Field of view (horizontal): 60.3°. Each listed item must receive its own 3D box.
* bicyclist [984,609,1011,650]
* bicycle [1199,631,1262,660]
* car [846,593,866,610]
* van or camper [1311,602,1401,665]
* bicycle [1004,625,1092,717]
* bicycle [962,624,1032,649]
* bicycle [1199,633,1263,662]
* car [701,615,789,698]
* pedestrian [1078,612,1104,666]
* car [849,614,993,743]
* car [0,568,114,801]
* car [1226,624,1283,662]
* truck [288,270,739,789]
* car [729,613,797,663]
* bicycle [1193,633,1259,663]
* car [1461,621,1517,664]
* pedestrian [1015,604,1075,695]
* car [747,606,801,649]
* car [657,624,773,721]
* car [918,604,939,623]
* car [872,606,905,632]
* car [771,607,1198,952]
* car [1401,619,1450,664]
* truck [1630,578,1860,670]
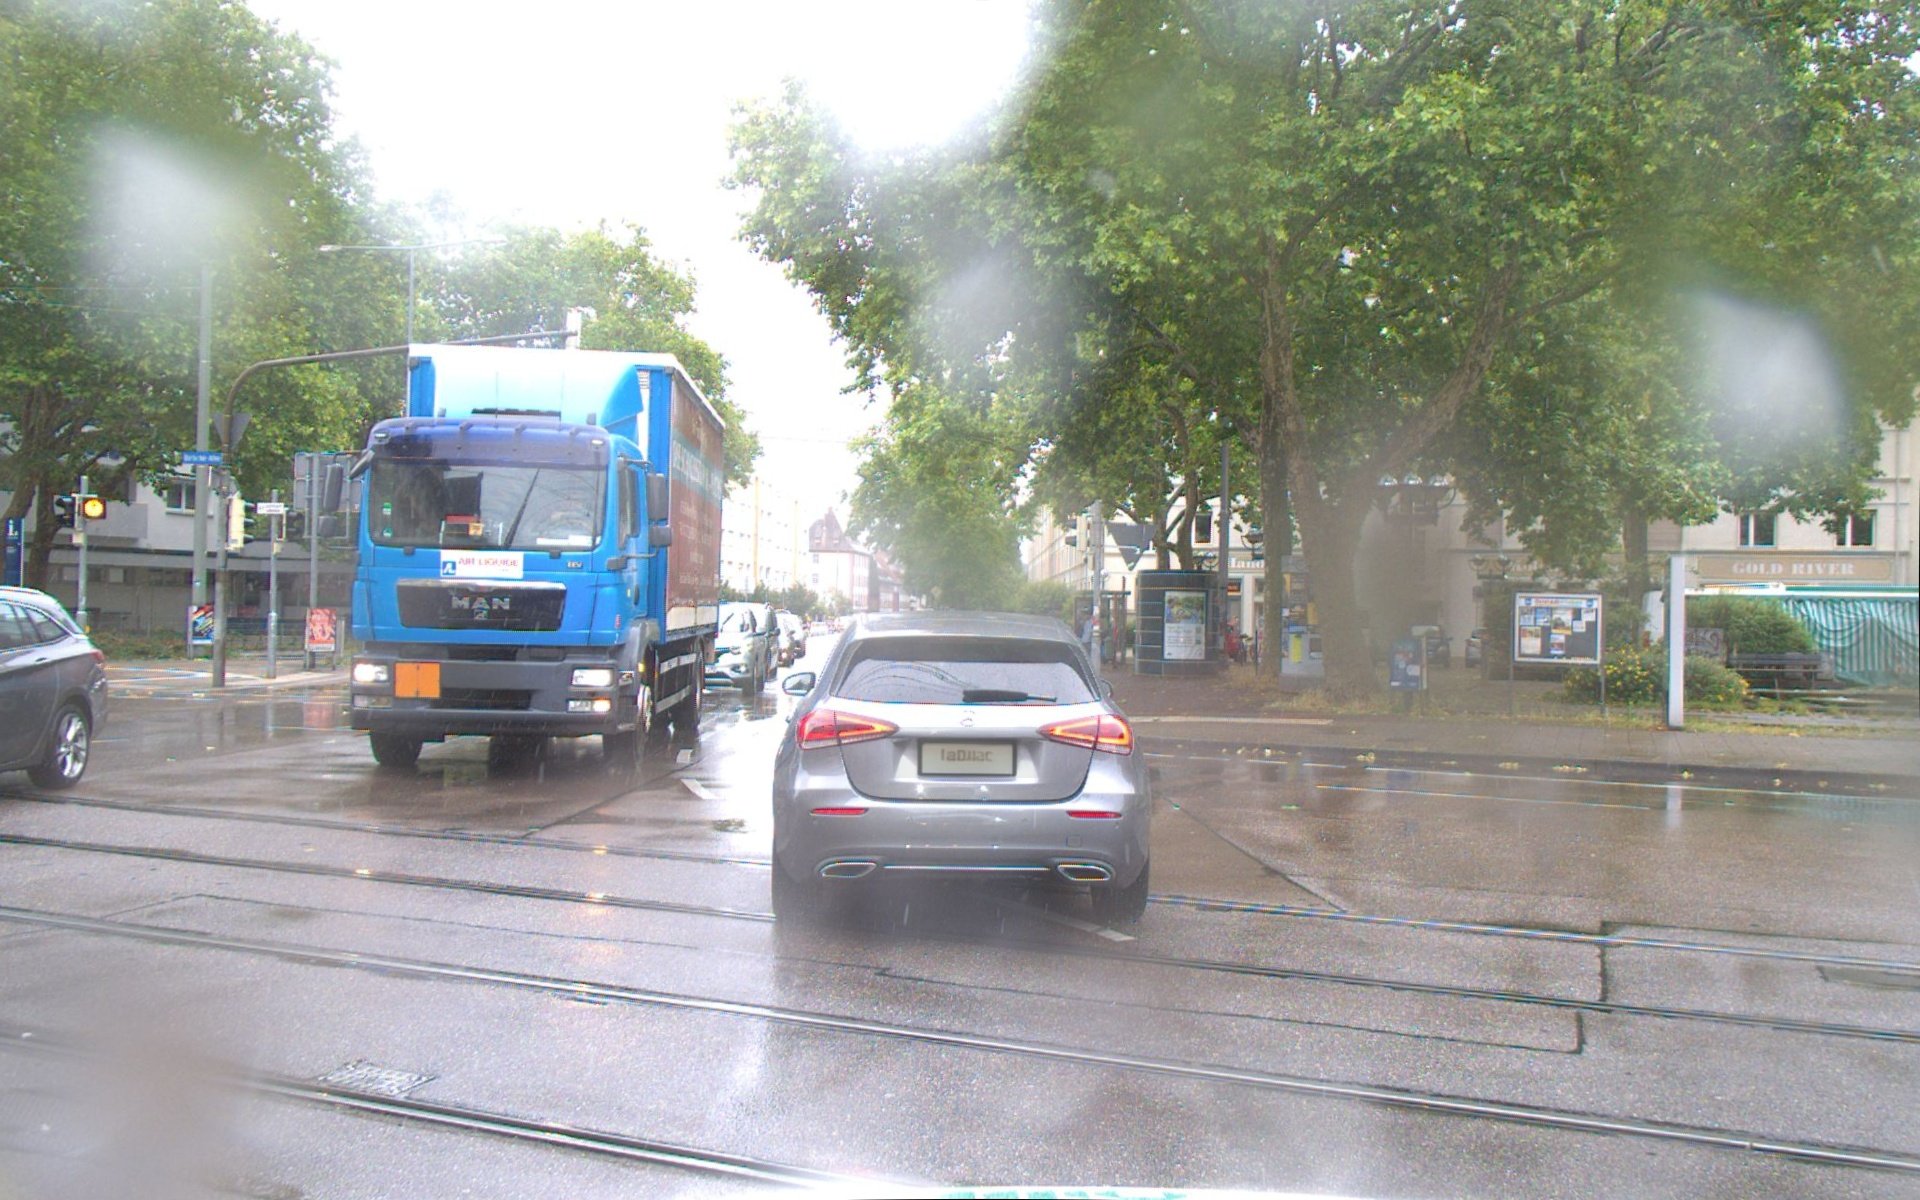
[{"bbox_3d":[1.747,1.404,77.797,0.925,1.901,1.135,1,-3,-21],"label":"bicyclist"},{"bbox_3d":[9.857,1.658,60.325,2.200,0.985,0.585,1,-1,20],"label":"bicycle"},{"bbox_3d":[-11.282,0.169,179.598,1.851,1.868,4.000,1,-1,0],"label":"car"},{"bbox_3d":[14.972,1.245,62.280,2.348,2.270,5.426,0,-1,24],"label":"van or camper"},{"bbox_3d":[1.467,1.115,26.961,0.733,1.401,2.708,0,0,19],"label":"bicycle"},{"bbox_3d":[1.753,1.737,77.830,3.161,1.132,1.047,1,-3,-22],"label":"bicycle"},{"bbox_3d":[9.743,1.698,59.435,2.205,0.985,0.534,1,-1,20],"label":"bicycle"},{"bbox_3d":[-5.186,1.324,40.359,1.770,1.894,4.107,1,-1,-3],"label":"car"},{"bbox_3d":[4.176,1.245,52.711,0.703,1.698,0.664,1,-1,-7],"label":"pedestrian"},{"bbox_3d":[-0.534,0.877,20.147,1.575,1.396,3.997,0,0,-3],"label":"car"},{"bbox_3d":[-7.291,0.567,10.638,1.692,1.573,4.337,0,0,-4],"label":"car"},{"bbox_3d":[11.316,1.659,63.413,1.550,1.360,3.262,0,-3,21],"label":"car"},{"bbox_3d":[-4.219,-0.527,18.285,2.789,4.096,10.308,0,0,-4],"label":"truck"},{"bbox_3d":[-5.915,1.145,50.010,1.708,1.414,4.359,2,-1,-3],"label":"car"},{"bbox_3d":[9.452,1.704,58.814,2.234,1.000,0.545,1,-1,20],"label":"bicycle"},{"bbox_3d":[19.560,1.584,61.089,1.645,1.457,3.734,0,-3,22],"label":"car"},{"bbox_3d":[1.377,0.782,26.692,0.728,1.422,1.047,0,-1,18],"label":"pedestrian"},{"bbox_3d":[-6.878,1.007,61.483,1.809,1.536,4.051,1,-1,-4],"label":"car"},{"bbox_3d":[-4.445,1.278,30.507,1.707,1.632,3.997,1,-1,-3],"label":"car"},{"bbox_3d":[-3.237,1.430,172.559,2.004,1.868,4.792,1,-1,1],"label":"car"},{"bbox_3d":[-4.549,1.189,104.185,1.954,1.601,3.996,1,-1,-4],"label":"car"},{"bbox_3d":[0.015,0.770,8.723,1.756,1.396,3.504,2,0,-3],"label":"car"},{"bbox_3d":[17.244,1.537,61.185,1.644,1.603,3.737,1,-1,17],"label":"car"},{"bbox_3d":[24.494,0.742,51.896,6.245,2.747,2.269,1,-1,18],"label":"truck"}]
